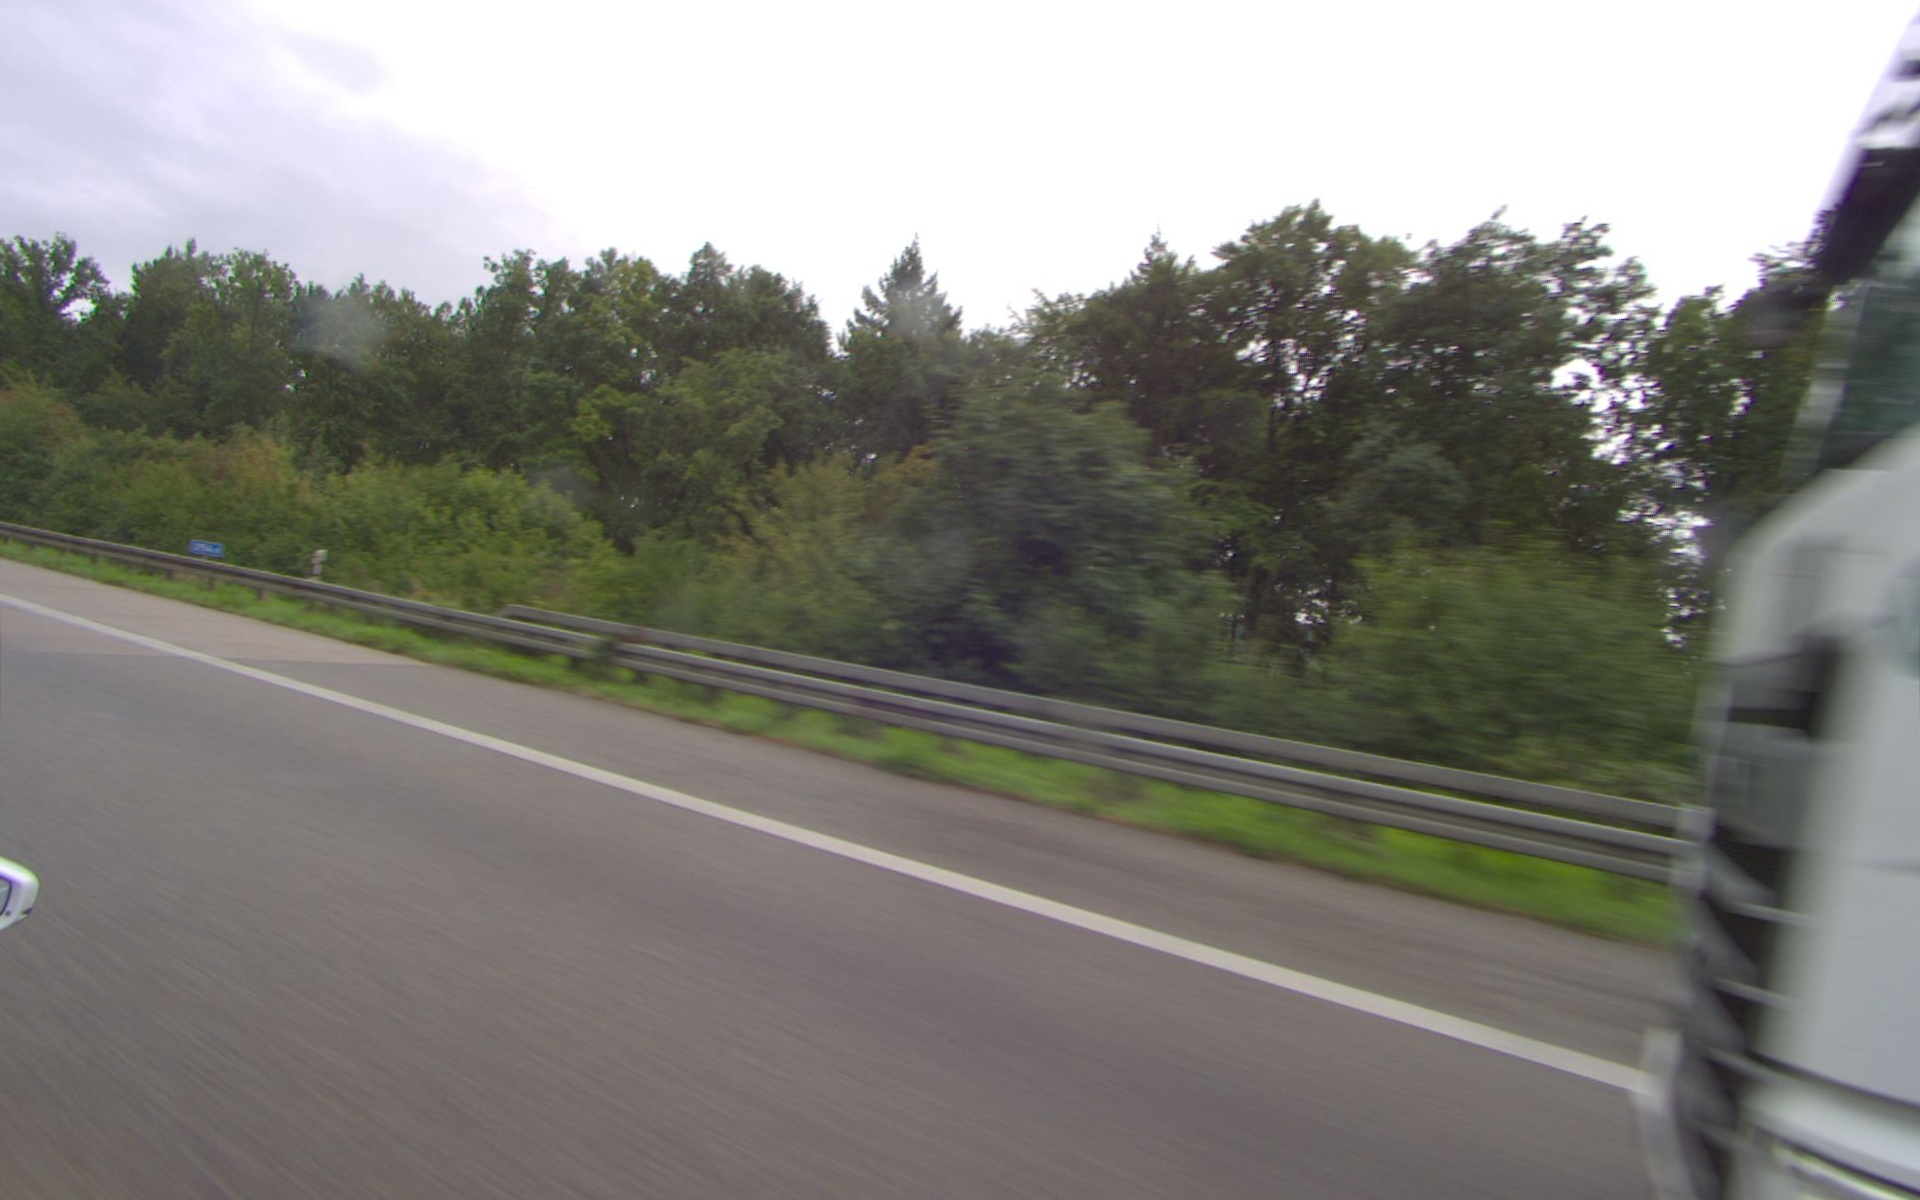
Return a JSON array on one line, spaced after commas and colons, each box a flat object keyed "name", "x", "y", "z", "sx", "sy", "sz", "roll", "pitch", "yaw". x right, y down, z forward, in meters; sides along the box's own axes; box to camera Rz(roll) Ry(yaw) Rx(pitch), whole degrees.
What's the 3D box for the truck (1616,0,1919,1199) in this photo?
[{"name": "truck", "x": 4.257, "y": -0.012, "z": 0.895, "sx": 5.657, "sy": 4.089, "sz": 2.726, "roll": 7, "pitch": -1, "yaw": 32}]
